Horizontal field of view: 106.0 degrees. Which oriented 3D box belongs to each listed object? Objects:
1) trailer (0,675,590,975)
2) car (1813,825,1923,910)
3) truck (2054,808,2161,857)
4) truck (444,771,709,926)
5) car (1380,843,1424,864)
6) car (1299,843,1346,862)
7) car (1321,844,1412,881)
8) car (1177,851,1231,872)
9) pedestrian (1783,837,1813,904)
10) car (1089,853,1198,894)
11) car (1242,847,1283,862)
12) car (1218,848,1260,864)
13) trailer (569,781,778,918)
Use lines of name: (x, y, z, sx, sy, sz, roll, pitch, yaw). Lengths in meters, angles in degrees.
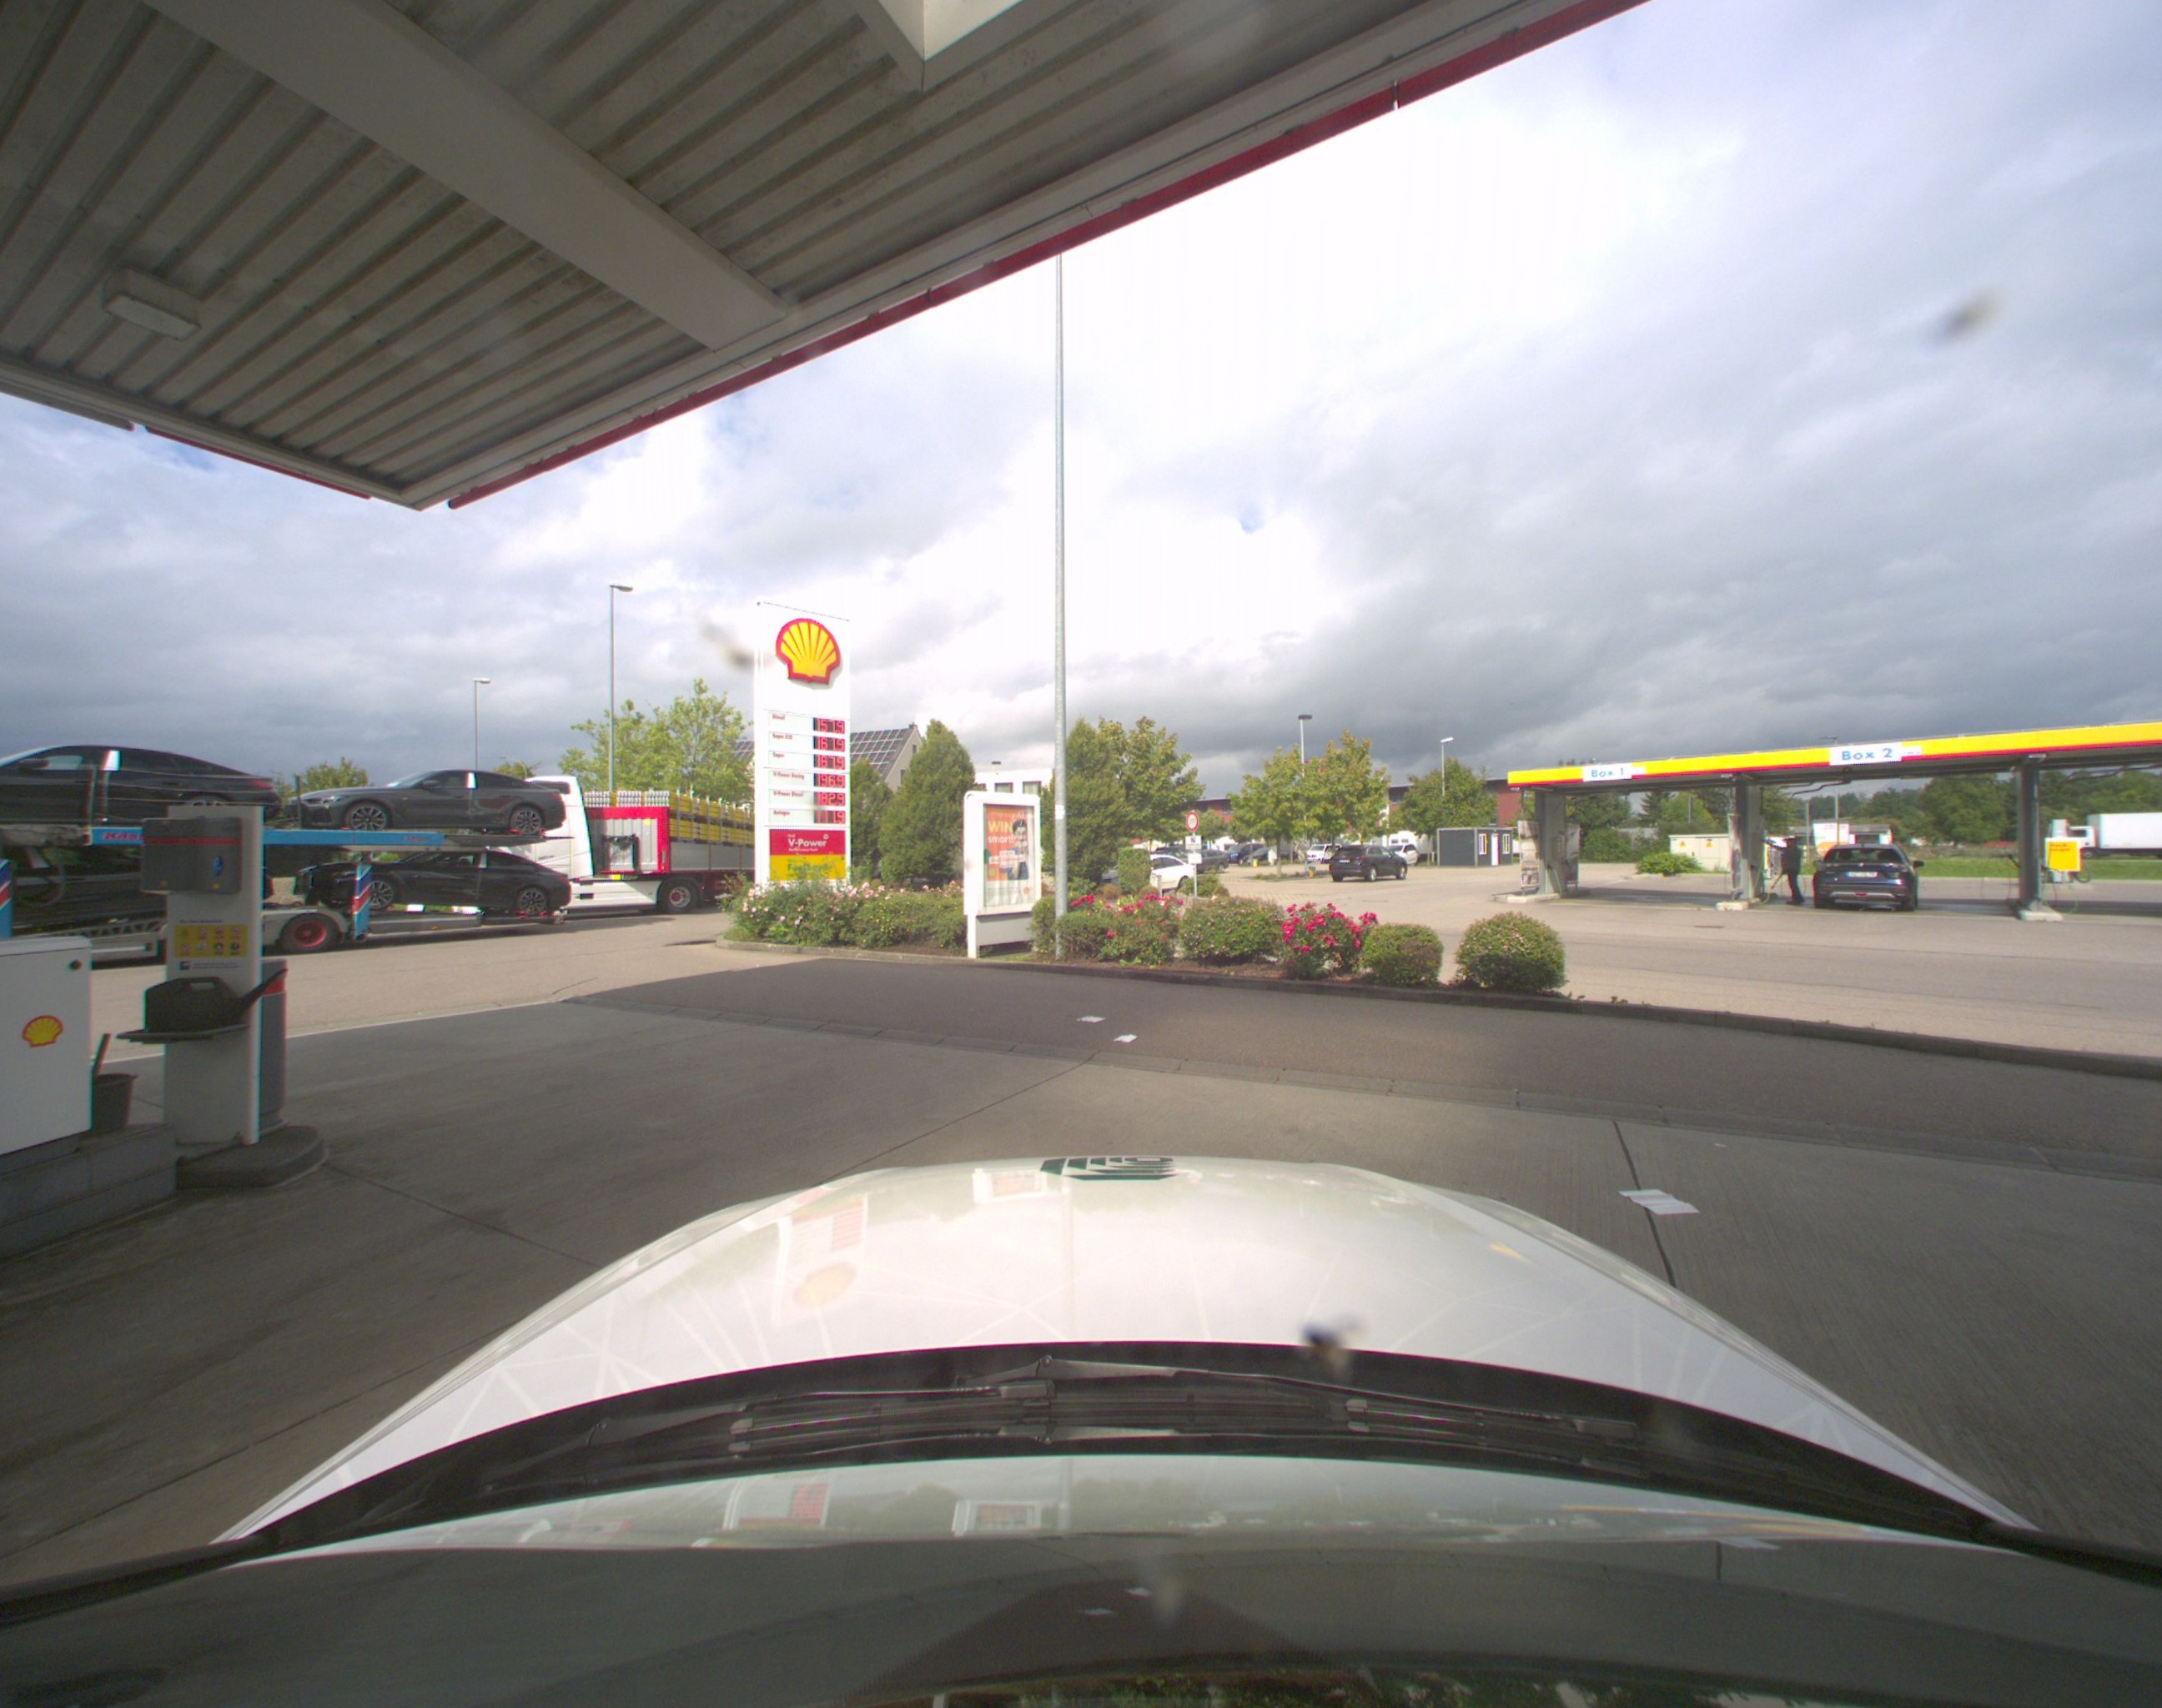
trailer: (-16.456, -0.412, 13.658, 2.711, 4.423, 14.450, -1, -1, 31)
car: (19.418, 0.312, 20.048, 3.828, 1.897, 1.703, 0, -1, -43)
truck: (78.210, -1.567, 59.980, 7.989, 3.534, 2.714, -1, -1, 41)
truck: (-14.208, -0.130, 23.261, 2.707, 3.846, 5.954, -1, -1, 44)
car: (20.587, -0.049, 52.189, 3.120, 1.307, 1.352, 0, -1, -42)
car: (23.854, -0.123, 80.242, 4.903, 1.833, 2.159, 0, -1, -41)
car: (12.856, 0.372, 36.553, 4.527, 1.548, 1.864, 0, -1, -41)
car: (7.519, 0.448, 49.679, 3.245, 1.228, 1.488, 0, -1, -42)
pedestrian: (18.691, 0.430, 21.228, 0.551, 1.722, 0.531, -1, -1, 40)
car: (2.373, 0.682, 29.994, 4.368, 1.404, 1.354, 0, -1, -42)
car: (14.473, 0.033, 64.849, 3.437, 1.179, 1.468, 0, -1, -42)
car: (12.930, 0.181, 66.633, 3.407, 1.320, 1.726, 0, -1, -42)
trailer: (-13.637, -0.086, 28.929, 2.729, 3.776, 12.676, 0, -1, -8)
